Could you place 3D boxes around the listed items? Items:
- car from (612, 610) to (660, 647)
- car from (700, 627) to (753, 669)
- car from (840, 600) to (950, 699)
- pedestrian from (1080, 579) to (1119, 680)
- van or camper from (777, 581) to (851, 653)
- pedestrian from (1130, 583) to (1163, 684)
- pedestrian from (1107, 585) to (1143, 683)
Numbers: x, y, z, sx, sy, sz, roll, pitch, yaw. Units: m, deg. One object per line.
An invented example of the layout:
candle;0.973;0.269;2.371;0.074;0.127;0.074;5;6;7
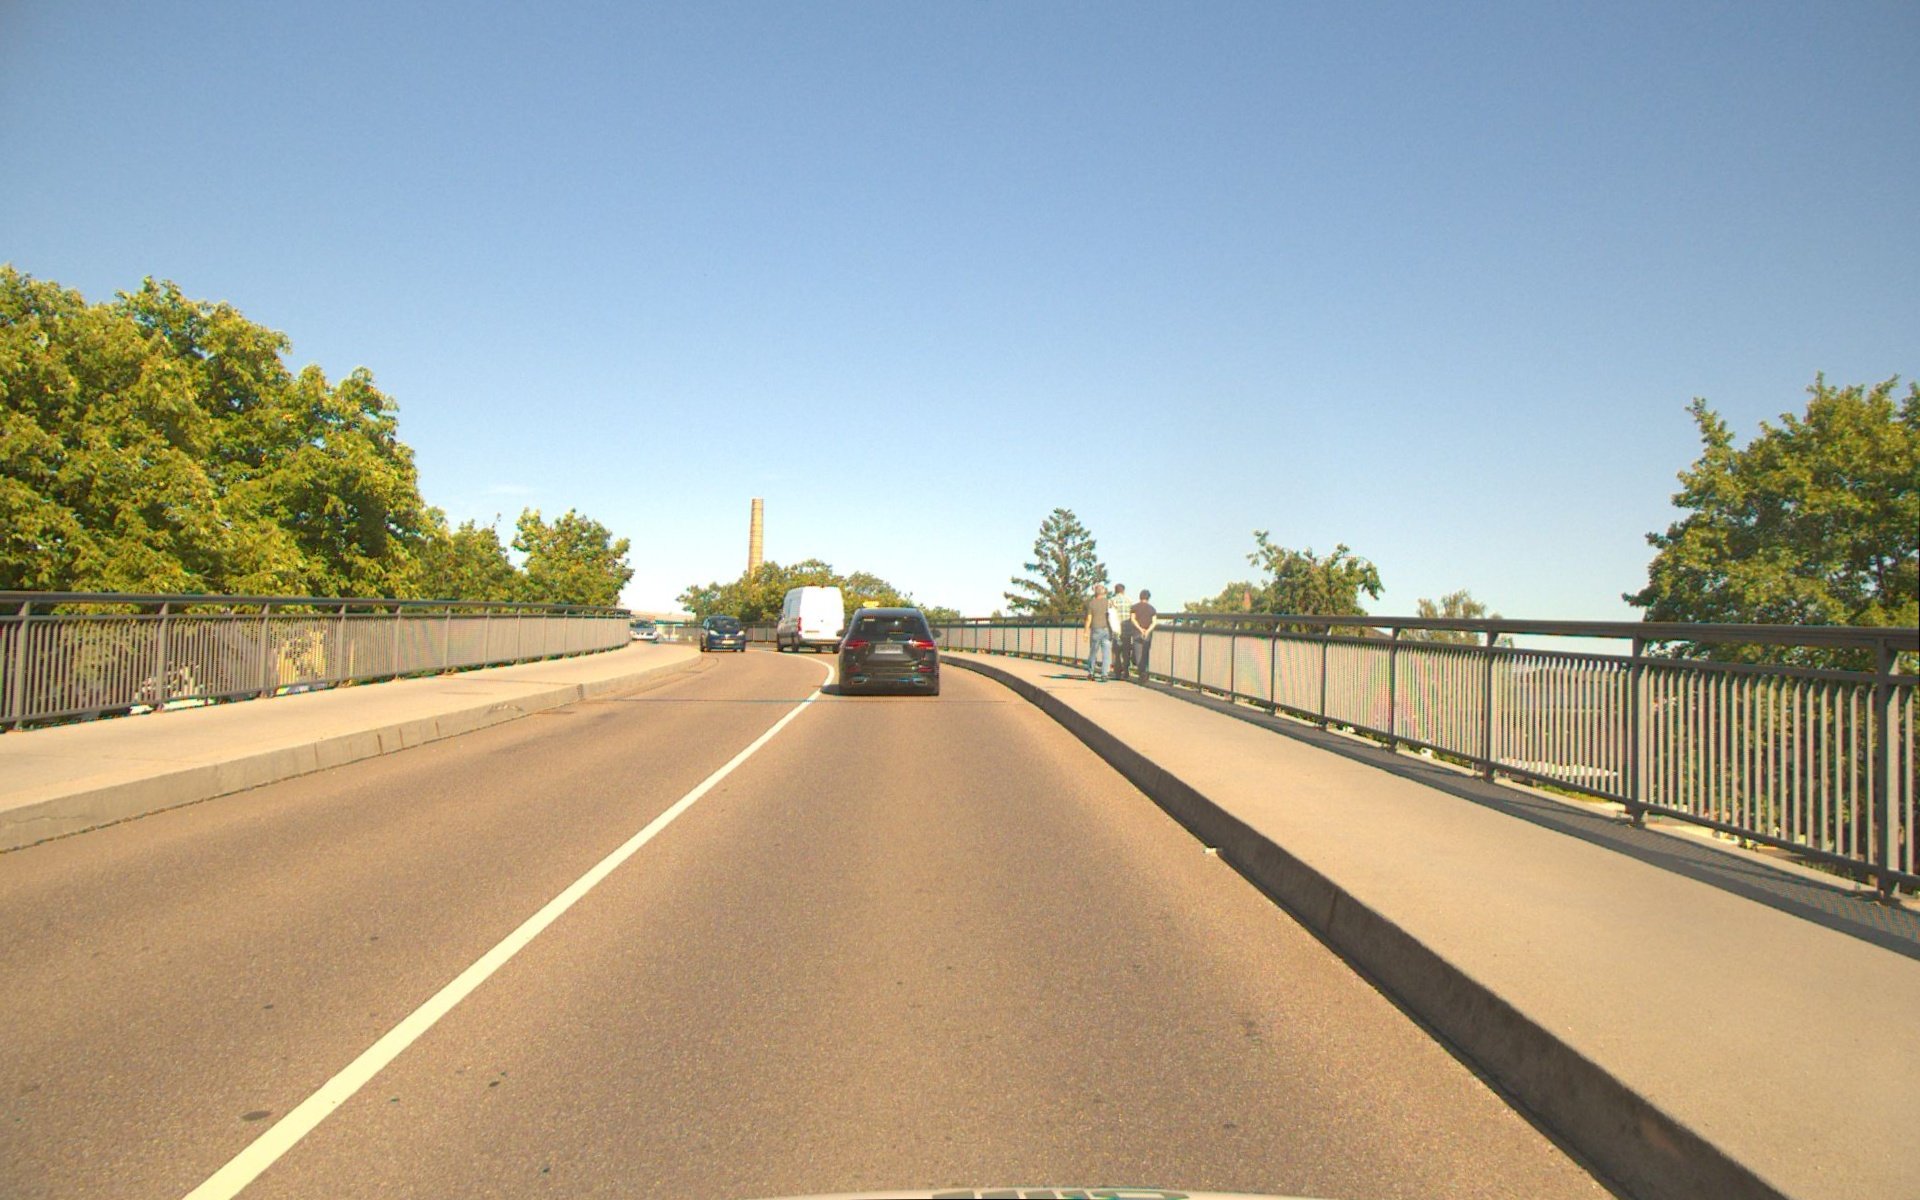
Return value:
car;-17.533;1.526;89.405;1.822;1.829;3.972;0;1;-23
car;-9.736;1.992;69.253;1.734;1.620;3.987;2;-1;-2
car;-1.241;0.846;29.978;1.735;1.620;3.984;2;0;-5
pedestrian;2.518;0.544;29.855;0.590;1.781;0.716;2;-3;-1
van or camper;-6.243;0.796;70.062;2.187;2.787;7.057;2;-3;-12
pedestrian;3.344;0.603;29.720;0.462;1.781;0.653;2;-3;-1
pedestrian;3.048;0.636;30.591;0.538;1.781;0.738;2;-3;-1
